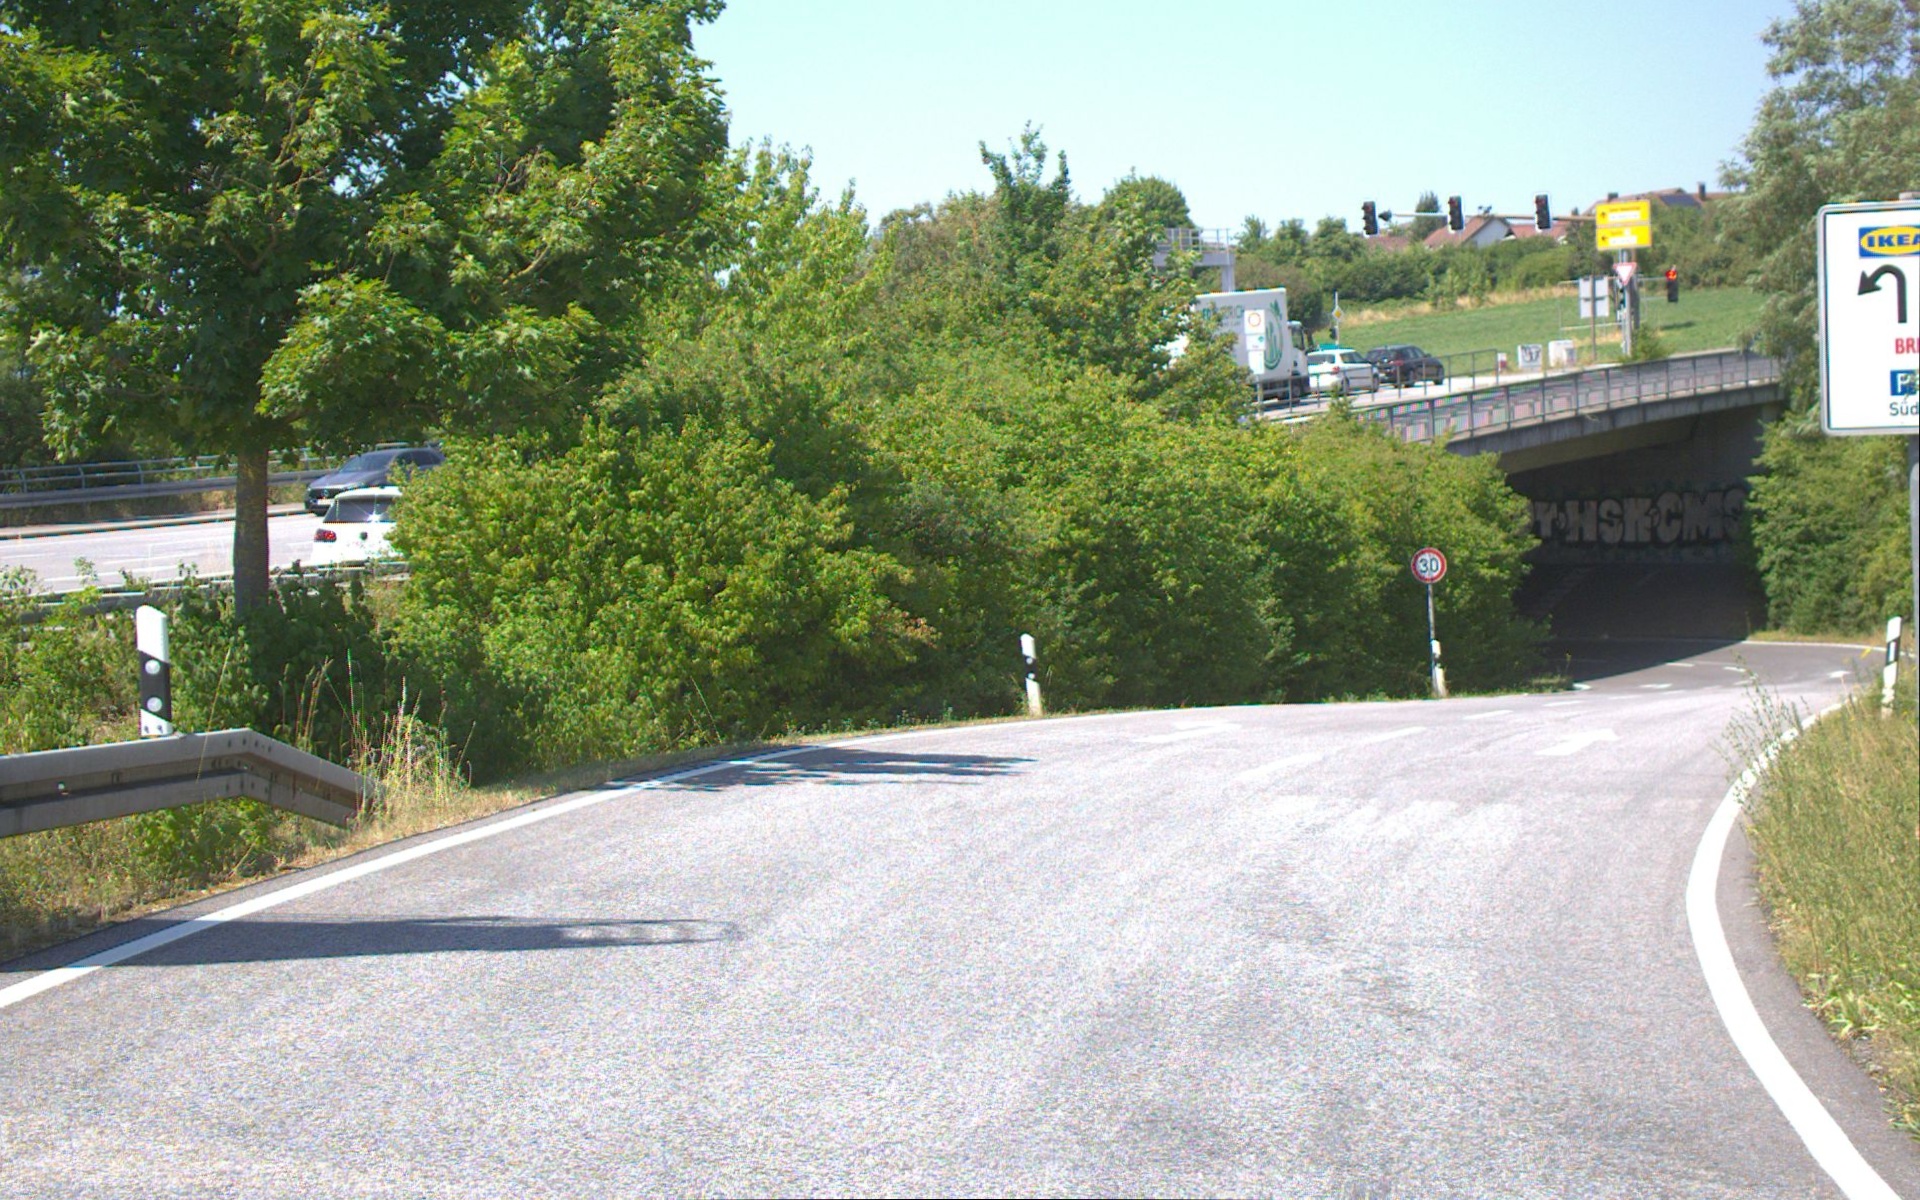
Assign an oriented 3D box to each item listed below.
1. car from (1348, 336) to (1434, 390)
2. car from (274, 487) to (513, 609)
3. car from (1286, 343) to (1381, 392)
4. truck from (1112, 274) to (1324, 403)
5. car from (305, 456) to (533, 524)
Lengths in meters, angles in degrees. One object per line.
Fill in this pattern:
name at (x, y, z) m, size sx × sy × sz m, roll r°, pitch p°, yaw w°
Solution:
car at (14.688, -8.059, 116.976) m, size 1.996 × 1.612 × 3.996 m, roll 0°, pitch 1°, yaw 22°
car at (-7.360, -0.694, 45.084) m, size 1.994 × 1.481 × 4.134 m, roll -1°, pitch 1°, yaw 7°
car at (12.012, -7.457, 110.335) m, size 1.899 × 1.358 × 3.995 m, roll 0°, pitch 1°, yaw 24°
truck at (7.929, -7.892, 104.451) m, size 3.031 × 3.577 × 8.891 m, roll -2°, pitch 2°, yaw 27°
car at (-12.564, -2.586, 80.255) m, size 2.155 × 1.437 × 5.829 m, roll 0°, pitch 2°, yaw 28°
